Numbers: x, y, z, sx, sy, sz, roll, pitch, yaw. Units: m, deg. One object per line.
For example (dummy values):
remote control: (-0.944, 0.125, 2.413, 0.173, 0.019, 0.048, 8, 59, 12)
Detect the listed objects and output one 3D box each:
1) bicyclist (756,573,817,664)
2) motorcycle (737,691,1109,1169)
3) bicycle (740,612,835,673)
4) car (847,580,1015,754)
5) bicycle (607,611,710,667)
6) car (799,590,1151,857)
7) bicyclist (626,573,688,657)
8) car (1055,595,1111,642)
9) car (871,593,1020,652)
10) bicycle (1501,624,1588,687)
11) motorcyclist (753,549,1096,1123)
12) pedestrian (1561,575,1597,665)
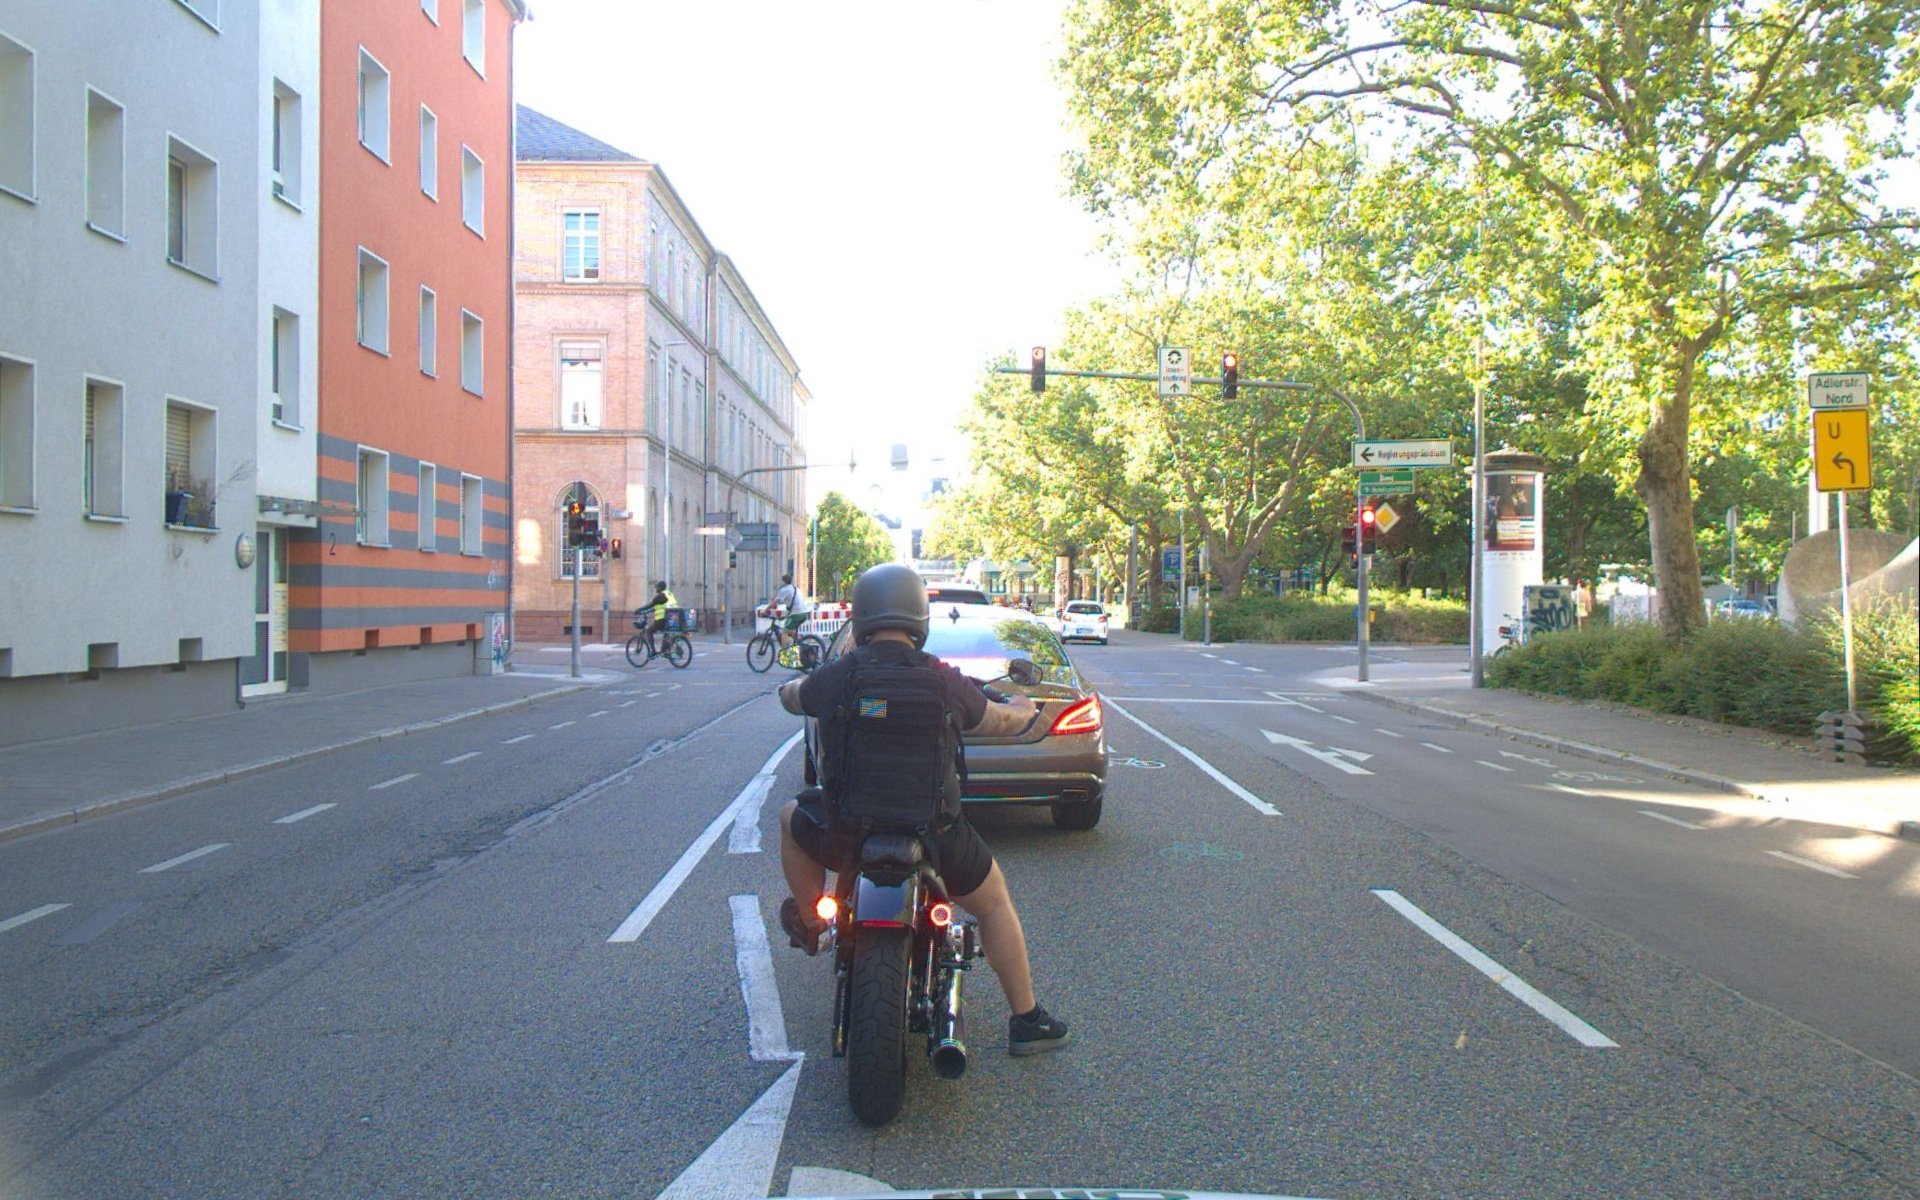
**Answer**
bicyclist: (-3.339, 0.352, 31.752, 0.945, 1.722, 0.703, 0, 0, 35)
motorcycle: (-0.114, 0.929, 5.548, 0.969, 1.097, 2.451, 0, 0, -1)
bicycle: (-3.317, 0.797, 31.738, 1.842, 1.123, 0.703, 0, 0, 36)
car: (-0.332, 0.622, 17.751, 1.580, 1.636, 4.327, 0, 0, -2)
bicycle: (-6.256, 0.807, 34.282, 2.115, 1.123, 0.704, -1, -1, 29)
car: (-0.109, 0.687, 11.588, 1.909, 1.498, 4.355, 0, 0, -7)
bicyclist: (-6.280, 0.310, 34.294, 1.024, 1.724, 0.704, -1, -1, 29)
car: (4.182, 0.623, 56.600, 1.817, 1.512, 3.910, 1, 0, 4)
car: (-0.377, 0.593, 45.256, 3.876, 1.506, 1.799, -1, 0, -43)
bicycle: (9.750, 0.925, 27.607, 1.324, 1.041, 0.363, 0, 0, 0)
motorcyclist: (-0.109, 0.666, 5.394, 0.969, 1.625, 1.403, 0, 0, -1)
pedestrian: (13.163, 0.419, 35.192, 0.540, 1.881, 0.593, 0, 0, 0)
